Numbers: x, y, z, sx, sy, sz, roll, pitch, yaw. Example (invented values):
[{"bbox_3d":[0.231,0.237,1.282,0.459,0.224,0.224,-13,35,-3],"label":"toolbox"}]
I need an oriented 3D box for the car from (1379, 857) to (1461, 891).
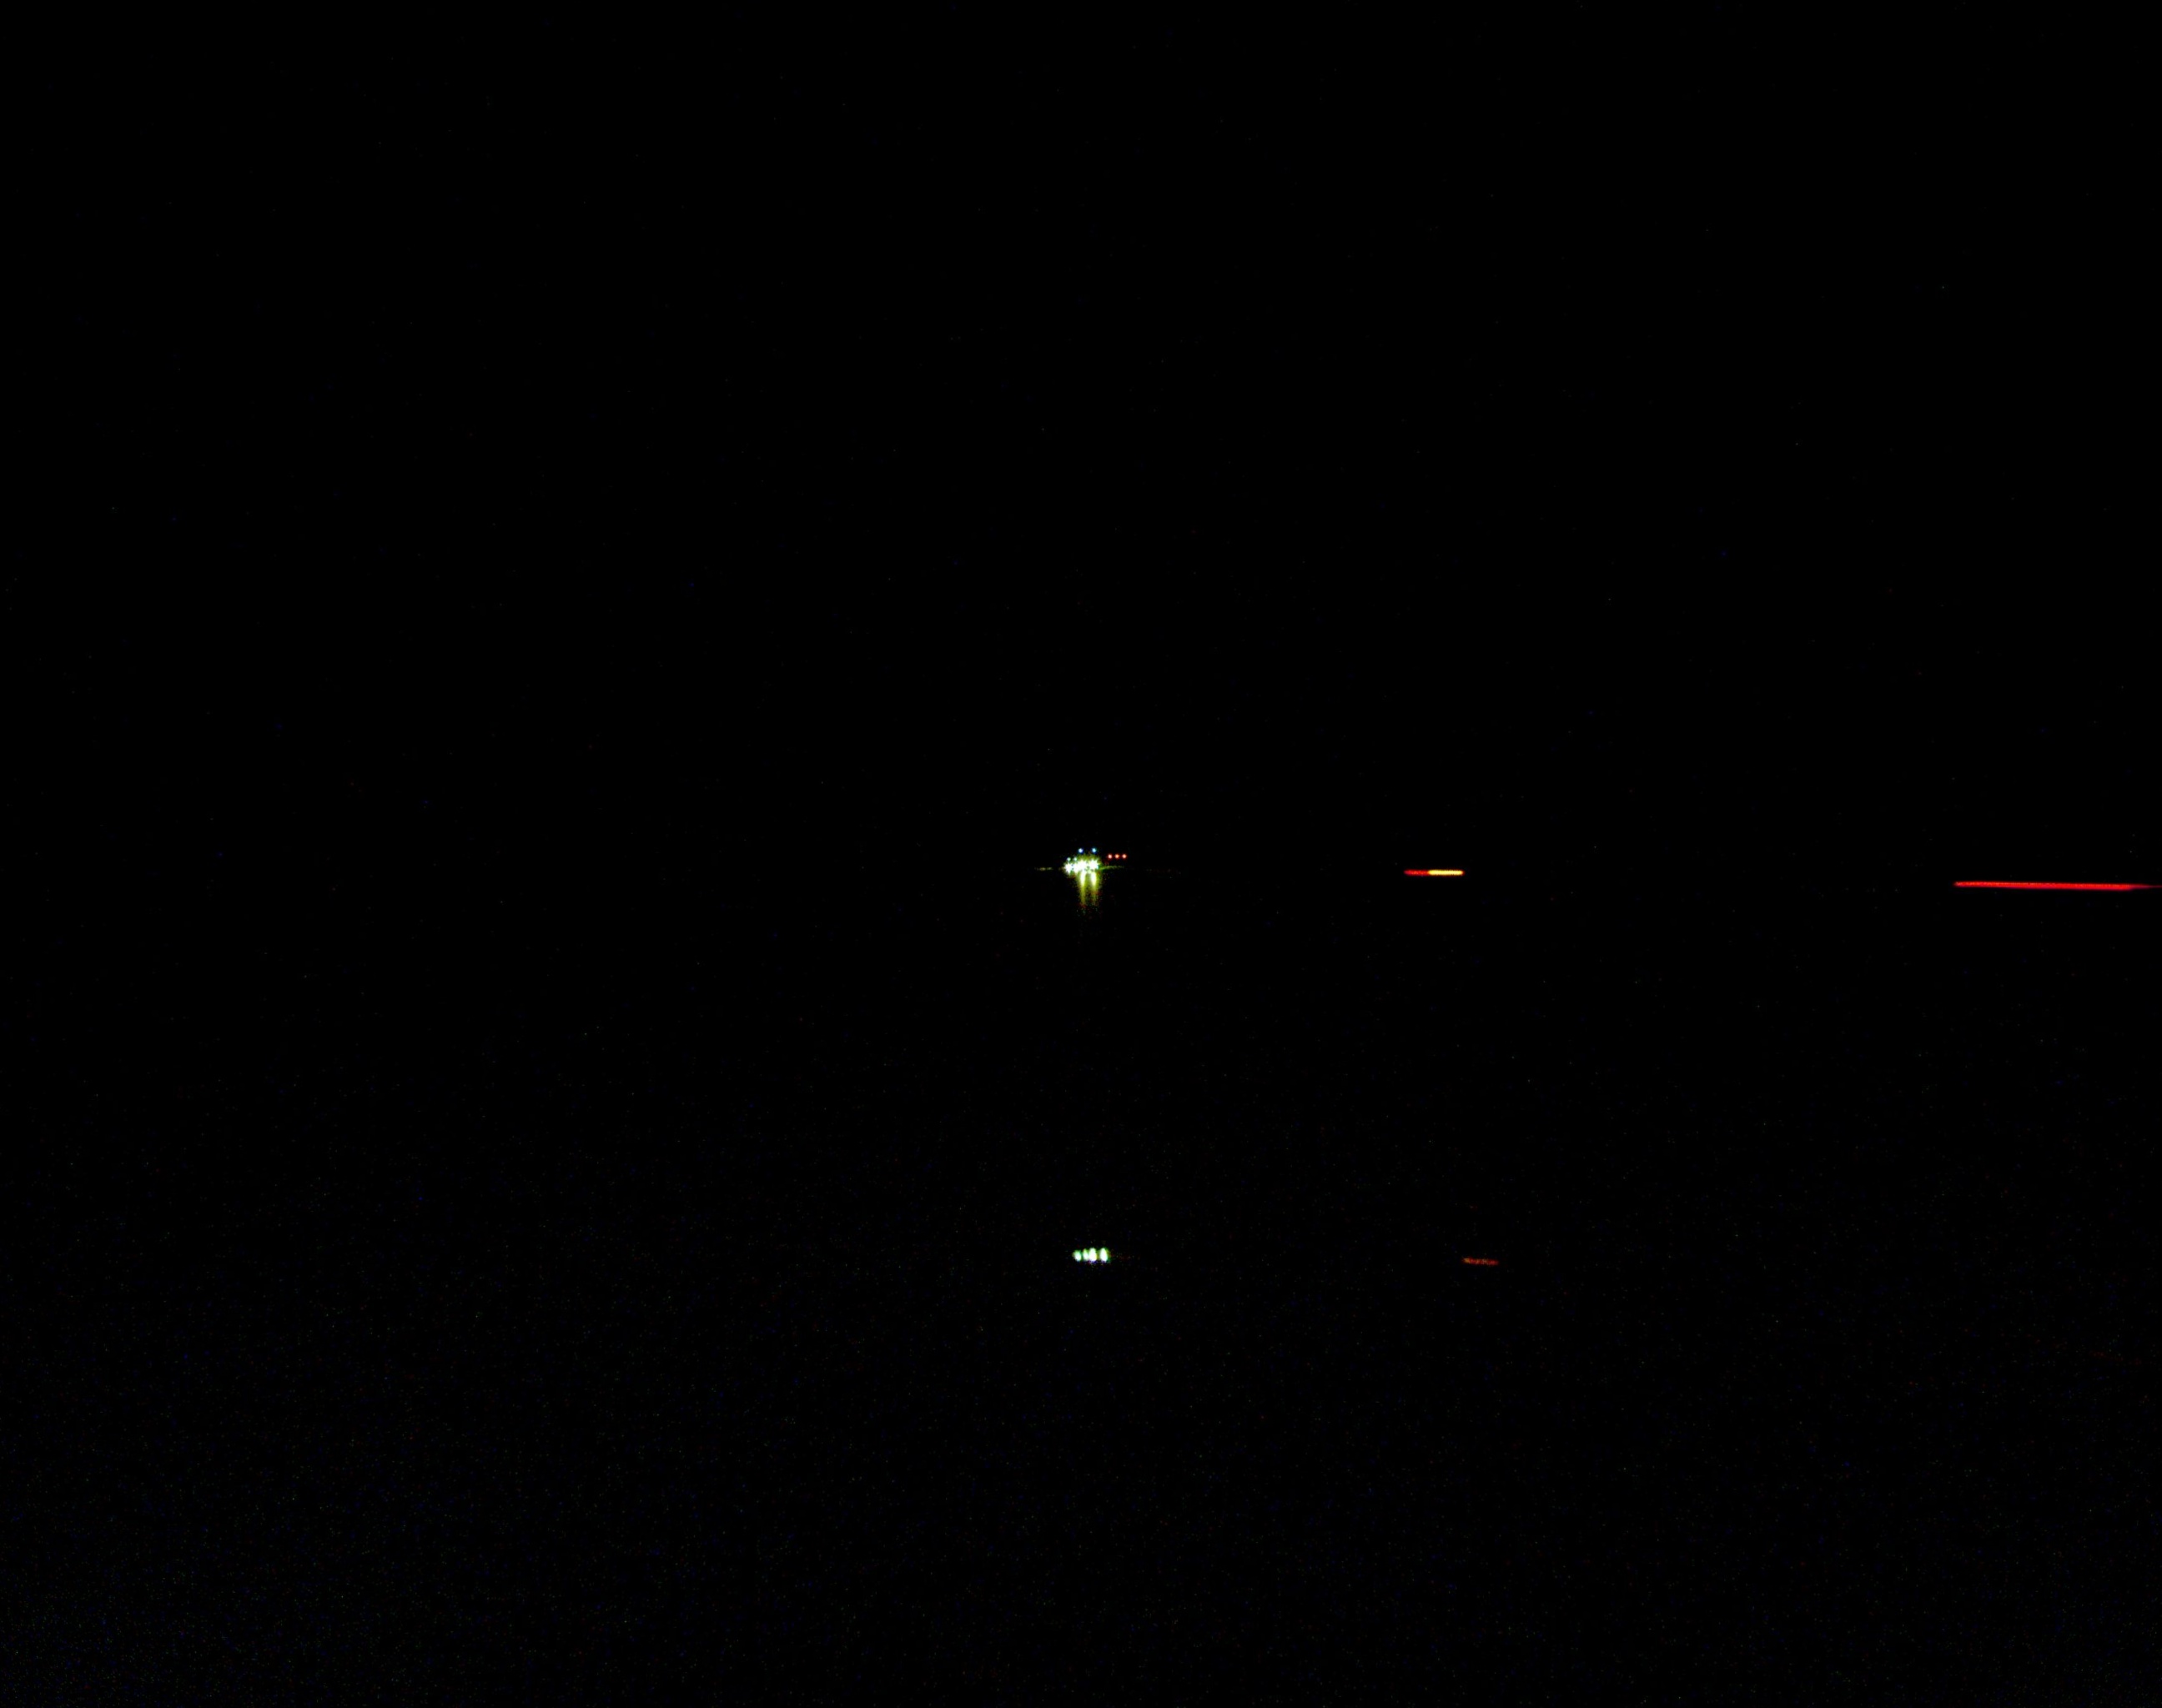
[{"bbox_3d":[16.236,0.921,36.680,1.908,1.462,4.655,-1,0,1],"label":"car"}]

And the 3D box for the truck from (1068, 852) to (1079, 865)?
[{"bbox_3d":[-2.246,1.180,223.972,3.042,3.726,7.559,-1,0,0],"label":"truck"}]

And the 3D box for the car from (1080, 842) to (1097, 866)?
[{"bbox_3d":[1.081,-0.064,106.995,2.255,3.205,6.877,-2,1,0],"label":"car"}]

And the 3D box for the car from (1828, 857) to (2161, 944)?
[{"bbox_3d":[19.760,0.898,16.814,1.908,1.611,4.655,-1,0,1],"label":"car"}]
